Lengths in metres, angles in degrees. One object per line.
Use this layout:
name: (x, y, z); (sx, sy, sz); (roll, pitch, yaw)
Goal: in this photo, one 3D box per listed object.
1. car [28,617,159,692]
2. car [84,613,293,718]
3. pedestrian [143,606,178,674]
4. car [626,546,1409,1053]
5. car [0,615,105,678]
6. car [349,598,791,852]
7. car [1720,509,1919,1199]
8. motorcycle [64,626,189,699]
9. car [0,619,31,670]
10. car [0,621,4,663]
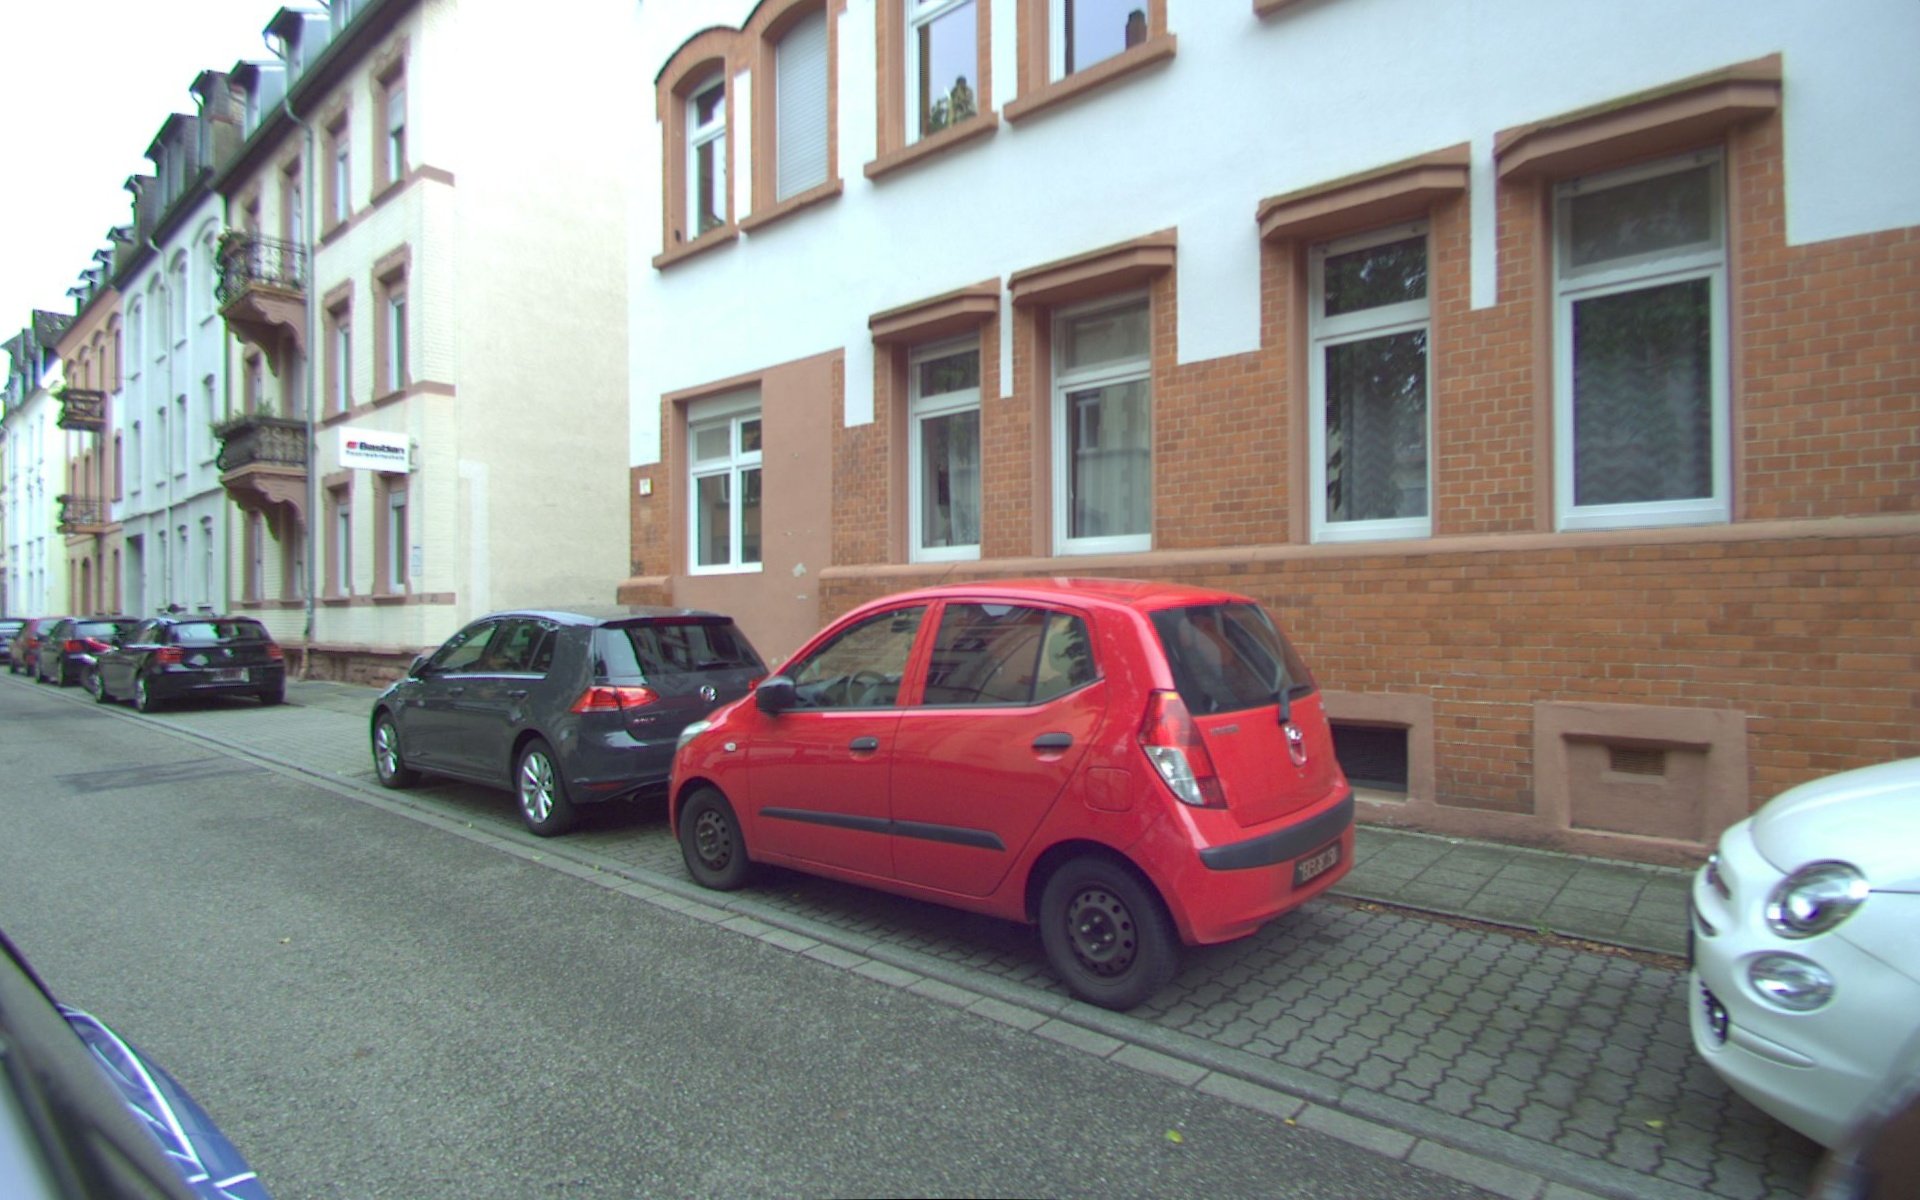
car: (-18.329, 1.088, 21.361); (3.470, 1.393, 1.638); (-1, 0, 42)
car: (-12.127, 0.938, 15.827); (3.998, 1.401, 1.880); (-2, -1, 42)
pedestrian: (-19.239, 0.950, 24.365); (0.544, 1.621, 0.570); (-2, -1, 41)
car: (0.026, 0.636, 4.817); (3.567, 1.542, 1.450); (-2, 0, 42)
car: (-22.825, 1.127, 25.395); (3.341, 1.483, 1.589); (-1, -1, 41)
car: (-3.102, 0.757, 7.621); (3.916, 1.427, 1.450); (-2, 0, 42)
car: (3.600, 0.547, 1.799); (3.548, 1.522, 1.651); (-1, -1, 37)
motorcycle: (-15.074, 1.114, 18.344); (1.684, 1.235, 0.487); (-1, -1, -31)
car: (-29.558, 1.341, 30.902); (3.041, 1.420, 1.438); (0, 1, 42)
car: (-34.238, 1.467, 35.011); (3.810, 1.420, 1.438); (-2, 0, 43)
